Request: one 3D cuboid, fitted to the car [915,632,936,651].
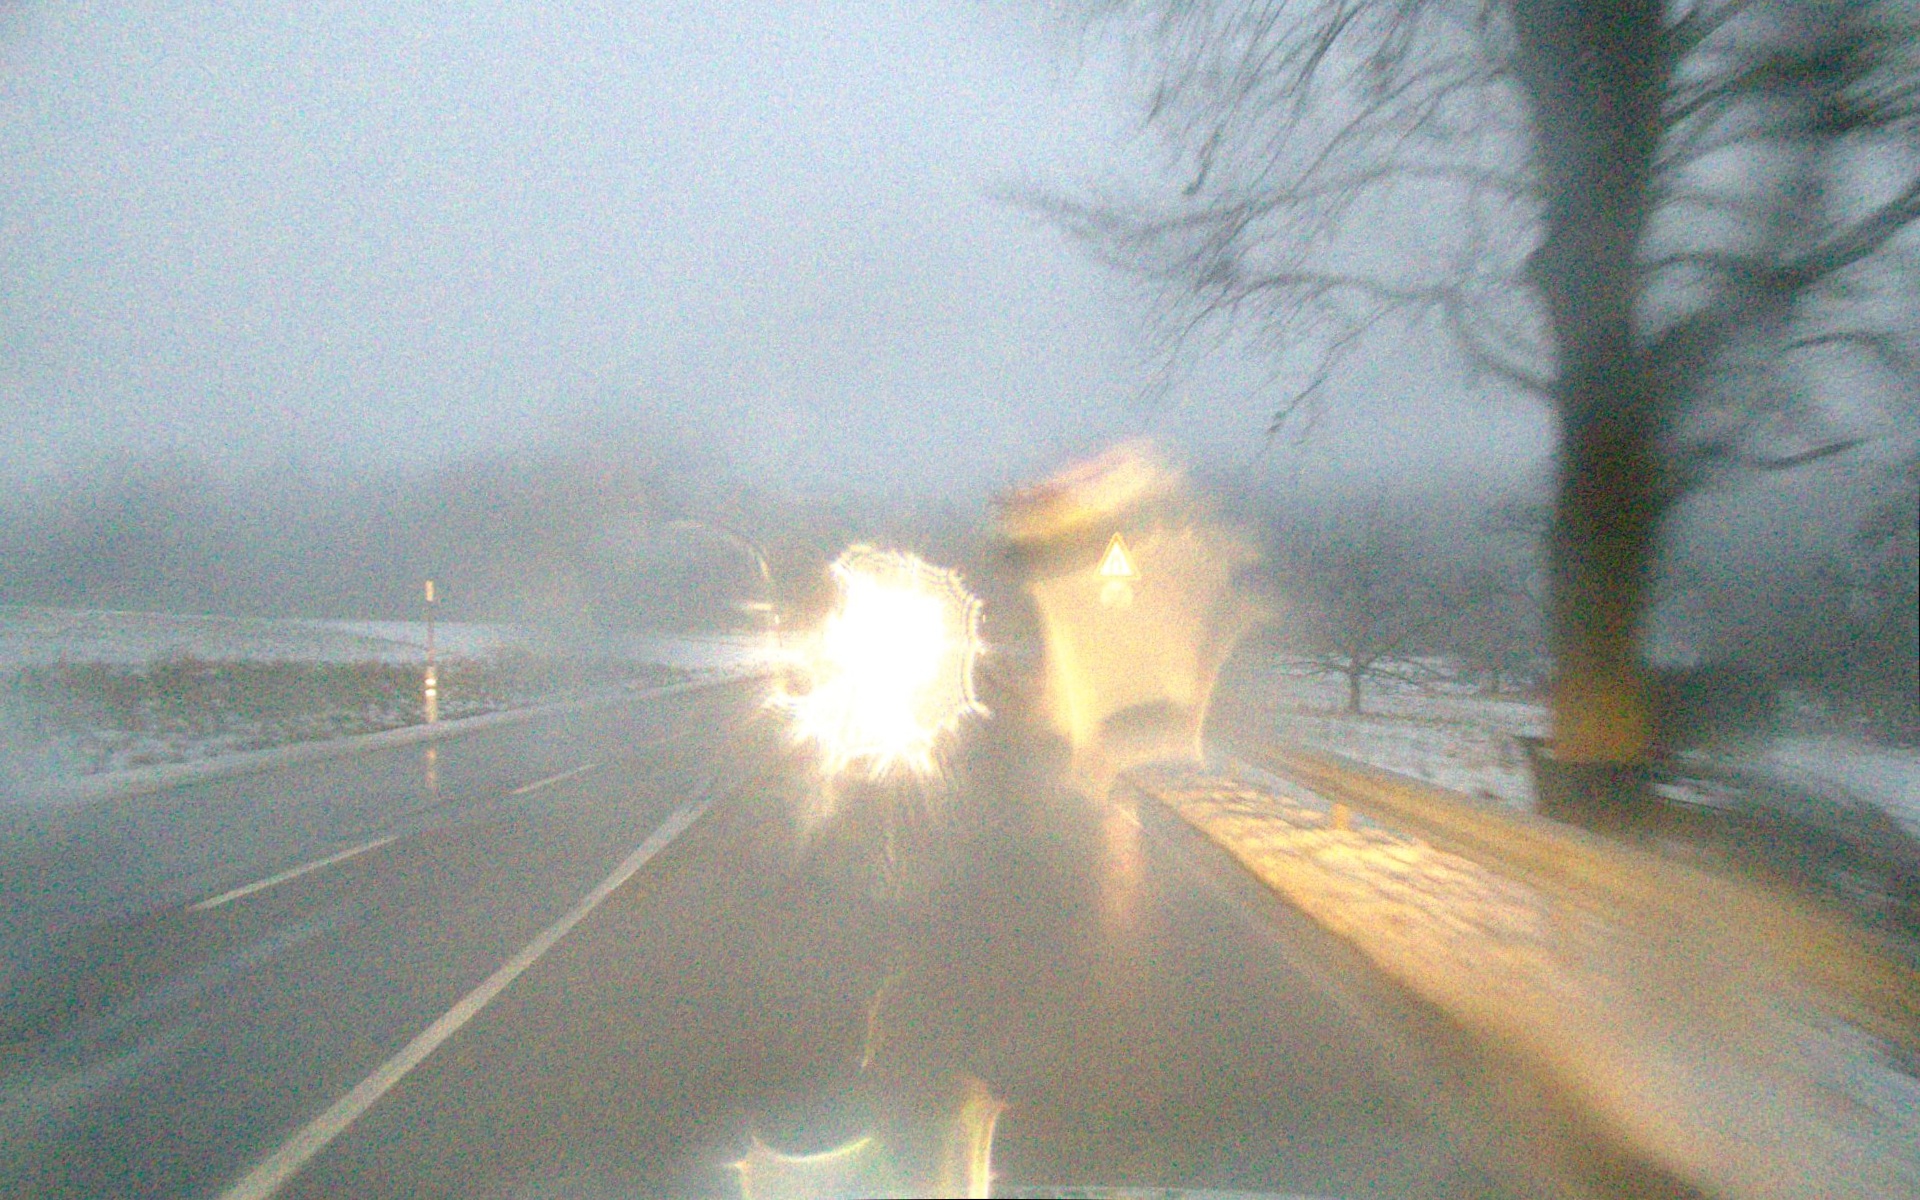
[{"bbox_3d":[-3.201,3.869,154.596,1.657,1.579,3.857,1,0,2],"label":"car"}]
